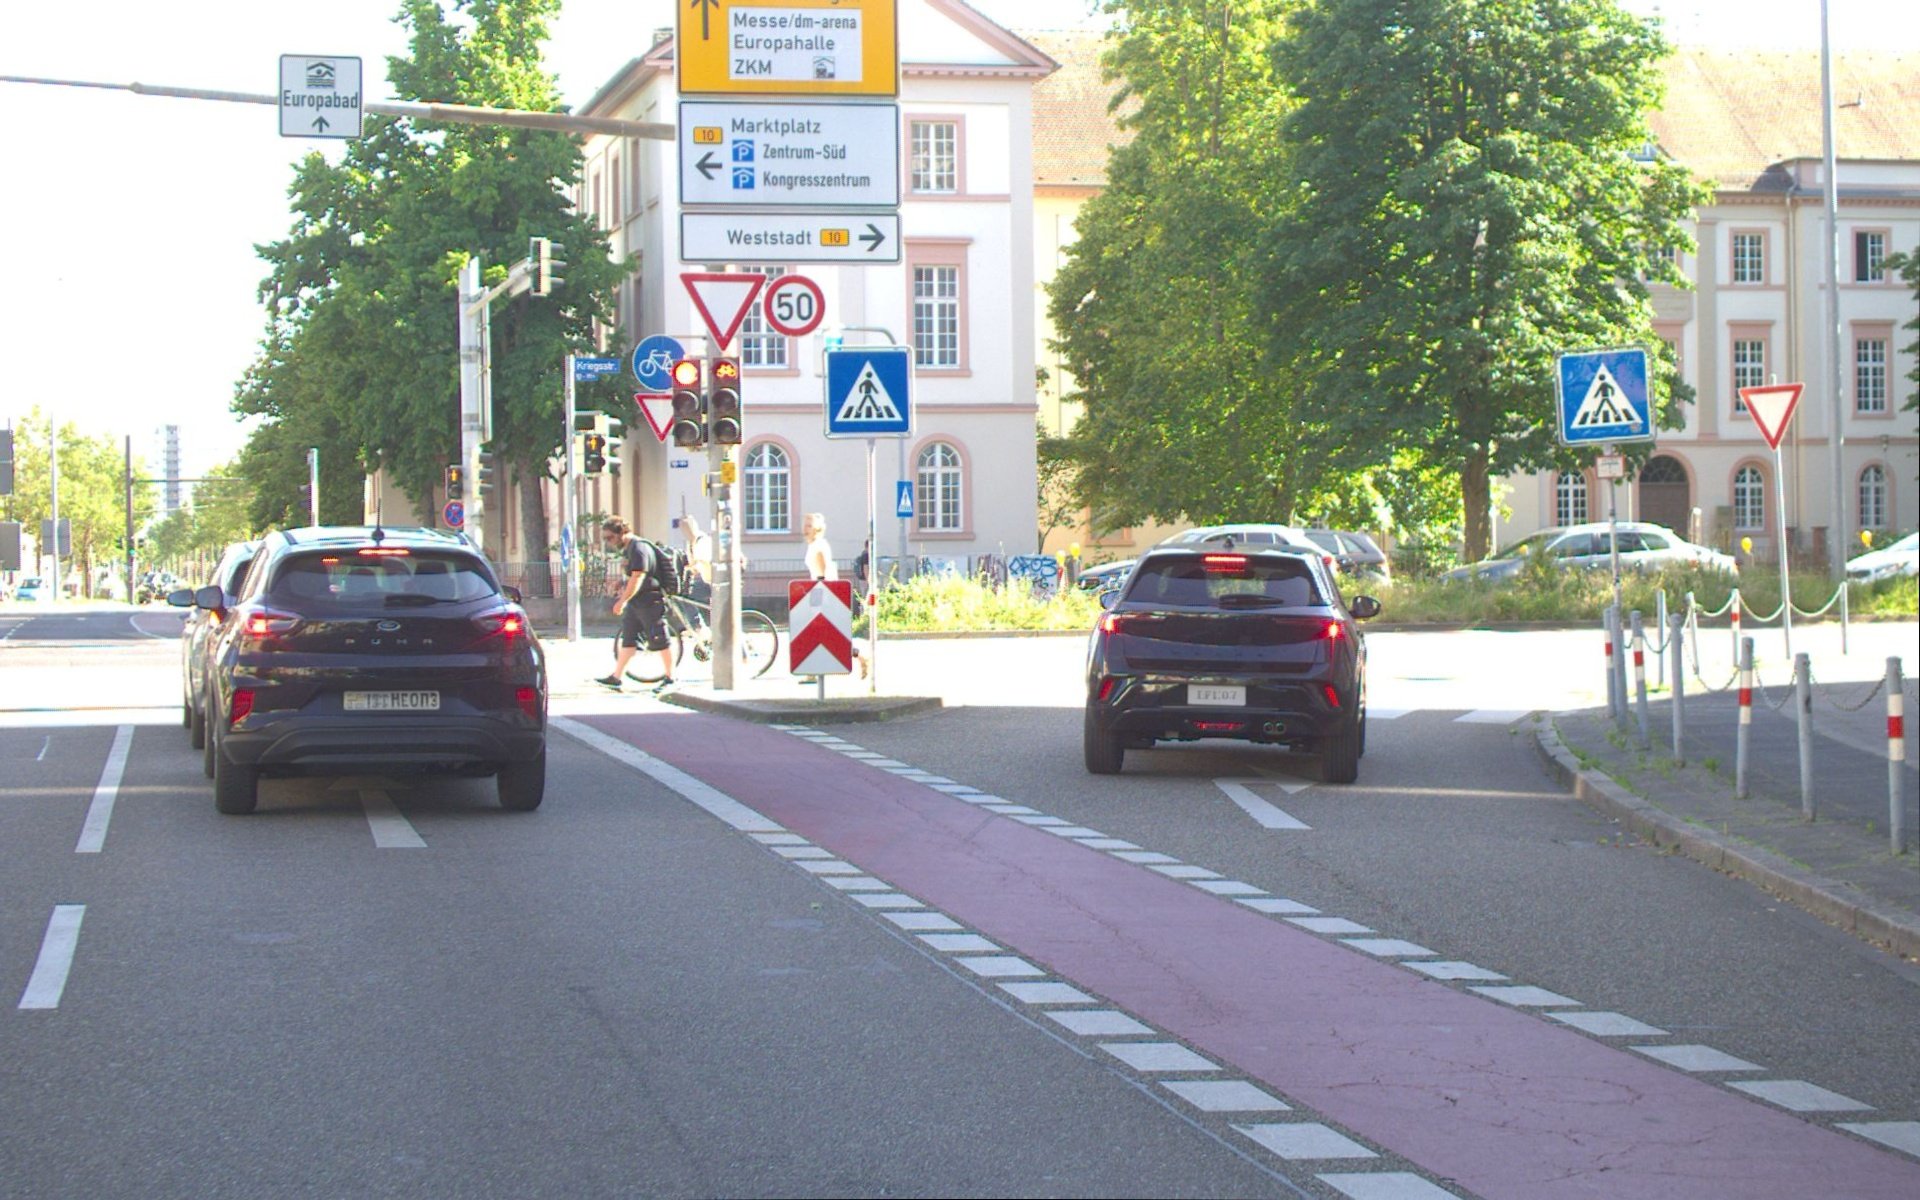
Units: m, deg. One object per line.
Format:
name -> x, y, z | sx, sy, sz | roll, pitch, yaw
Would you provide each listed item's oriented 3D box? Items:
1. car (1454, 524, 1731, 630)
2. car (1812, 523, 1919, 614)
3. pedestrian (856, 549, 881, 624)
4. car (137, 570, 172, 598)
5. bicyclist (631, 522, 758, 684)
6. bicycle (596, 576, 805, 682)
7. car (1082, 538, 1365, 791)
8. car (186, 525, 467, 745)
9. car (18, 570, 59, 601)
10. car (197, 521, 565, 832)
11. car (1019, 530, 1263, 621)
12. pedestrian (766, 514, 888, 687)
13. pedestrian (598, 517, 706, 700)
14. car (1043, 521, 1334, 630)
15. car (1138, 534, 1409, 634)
car -> 10.280, -0.393, 55.923 | 3.986, 1.638, 1.924 | -1, 1, -17
car -> 16.774, -0.563, 58.348 | 4.173, 1.503, 1.823 | -1, 1, -19
pedestrian -> -2.002, -0.299, 75.193 | 0.440, 1.610, 0.467 | 2, 0, -7
car -> -43.315, -0.856, 184.869 | 1.810, 1.443, 4.001 | -1, 1, -13
bicyclist -> -2.703, 0.026, 34.931 | 1.164, 1.628, 0.729 | 0, 1, -15
bicycle -> -2.641, 0.291, 34.940 | 2.030, 1.057, 0.622 | 0, 1, -15
car -> 1.859, 0.391, 23.374 | 1.746, 1.568, 3.557 | 1, 0, 7
car -> -4.696, 0.198, 25.097 | 1.829, 1.447, 3.989 | -1, 1, -13
car -> -45.092, -0.705, 168.324 | 1.810, 1.443, 4.001 | -1, 1, -13
car -> -3.401, 0.354, 19.679 | 1.829, 1.573, 3.840 | -1, 1, -13
car -> 3.339, -0.476, 63.540 | 4.113, 1.596, 1.823 | -1, 1, -19
pedestrian -> -1.304, -0.006, 33.668 | 1.040, 1.654, 0.784 | -1, 1, -13
pedestrian -> -2.918, 0.069, 32.501 | 0.825, 1.696, 0.918 | 0, 1, -18
car -> 3.538, -0.402, 53.420 | 4.113, 1.596, 1.823 | -1, 1, -19
car -> 5.243, -0.286, 57.590 | 4.113, 1.596, 1.823 | -1, 1, -19
